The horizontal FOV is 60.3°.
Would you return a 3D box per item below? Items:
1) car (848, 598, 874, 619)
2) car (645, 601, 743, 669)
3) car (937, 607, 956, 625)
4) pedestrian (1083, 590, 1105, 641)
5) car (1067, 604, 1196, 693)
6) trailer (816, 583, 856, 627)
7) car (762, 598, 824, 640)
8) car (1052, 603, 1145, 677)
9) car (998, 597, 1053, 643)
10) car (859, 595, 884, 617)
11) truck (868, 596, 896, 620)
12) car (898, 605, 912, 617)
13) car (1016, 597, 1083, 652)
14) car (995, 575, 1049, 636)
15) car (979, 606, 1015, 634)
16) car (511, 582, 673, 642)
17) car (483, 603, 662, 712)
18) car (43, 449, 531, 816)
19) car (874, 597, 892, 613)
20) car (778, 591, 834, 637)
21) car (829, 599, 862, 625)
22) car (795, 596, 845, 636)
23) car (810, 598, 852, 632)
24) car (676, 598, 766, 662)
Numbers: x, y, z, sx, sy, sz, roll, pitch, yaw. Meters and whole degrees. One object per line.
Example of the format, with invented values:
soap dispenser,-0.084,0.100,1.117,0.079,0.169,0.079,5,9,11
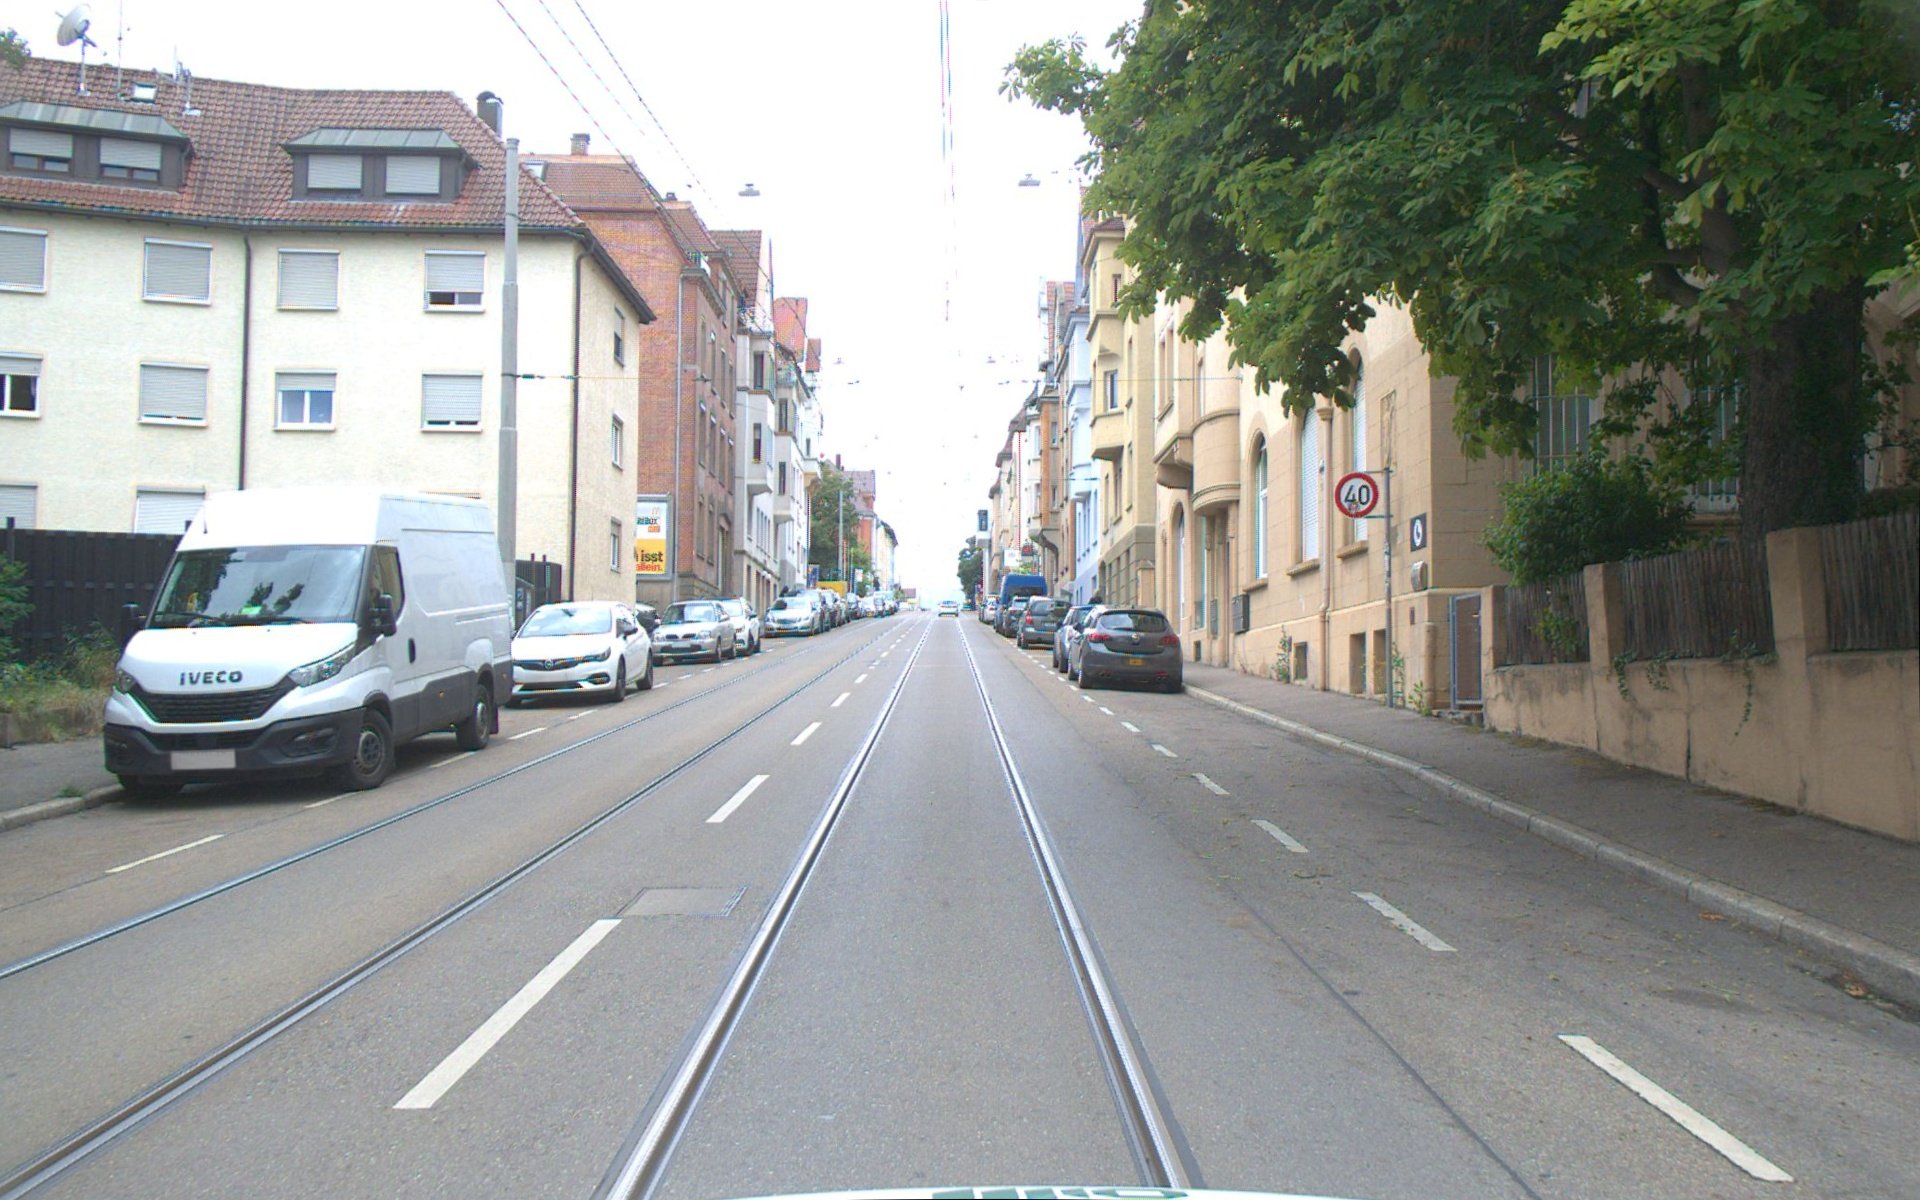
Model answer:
car,-7.536,0.655,125.993,1.662,1.583,3.850,1,0,1
car,-6.150,0.784,38.636,1.568,1.392,3.807,-3,0,0
car,-1.252,1.434,148.594,1.638,1.539,3.796,0,0,-2
pedestrian,4.637,0.537,57.216,0.530,1.711,0.515,-4,-3,-9
car,3.009,0.842,29.758,1.802,1.427,4.166,2,-1,-1
trailer,-6.472,0.270,86.538,1.713,2.193,4.071,-2,0,0
car,-6.282,0.682,62.547,1.790,1.454,4.839,-2,0,0
car,2.968,0.823,35.946,1.660,1.428,3.667,3,0,0
car,2.469,0.746,63.264,1.744,1.557,4.191,4,0,-1
car,-7.341,0.527,137.173,1.708,1.766,4.519,-2,0,1
truck,-7.714,0.801,163.881,2.233,2.226,8.025,1,0,1
car,-7.645,1.521,230.330,1.817,1.635,4.296,1,0,-1
car,2.708,0.730,51.000,1.790,1.545,4.027,3,0,0
car,2.539,0.251,68.758,1.953,2.418,5.055,1,-1,-1
car,2.015,1.059,90.445,1.715,1.415,4.306,2,0,-2
car,-12.391,0.392,55.976,5.072,1.850,1.939,-2,0,-5
car,-5.777,0.802,25.178,1.684,1.427,4.313,-3,0,-1
car,-5.851,0.234,15.517,2.115,2.652,6.216,-3,0,-2
car,-7.236,0.449,155.659,1.663,1.458,4.479,-1,0,-2
car,-6.304,0.538,68.011,1.790,1.748,4.913,-2,0,0
car,-6.797,0.720,98.268,1.662,1.494,3.023,-2,0,0
car,-6.418,0.711,76.410,1.835,1.693,4.891,-2,0,0
car,-6.398,0.721,82.366,1.662,1.621,4.268,-2,0,0
car,-6.164,0.742,43.126,1.791,1.454,4.625,-3,0,-3
